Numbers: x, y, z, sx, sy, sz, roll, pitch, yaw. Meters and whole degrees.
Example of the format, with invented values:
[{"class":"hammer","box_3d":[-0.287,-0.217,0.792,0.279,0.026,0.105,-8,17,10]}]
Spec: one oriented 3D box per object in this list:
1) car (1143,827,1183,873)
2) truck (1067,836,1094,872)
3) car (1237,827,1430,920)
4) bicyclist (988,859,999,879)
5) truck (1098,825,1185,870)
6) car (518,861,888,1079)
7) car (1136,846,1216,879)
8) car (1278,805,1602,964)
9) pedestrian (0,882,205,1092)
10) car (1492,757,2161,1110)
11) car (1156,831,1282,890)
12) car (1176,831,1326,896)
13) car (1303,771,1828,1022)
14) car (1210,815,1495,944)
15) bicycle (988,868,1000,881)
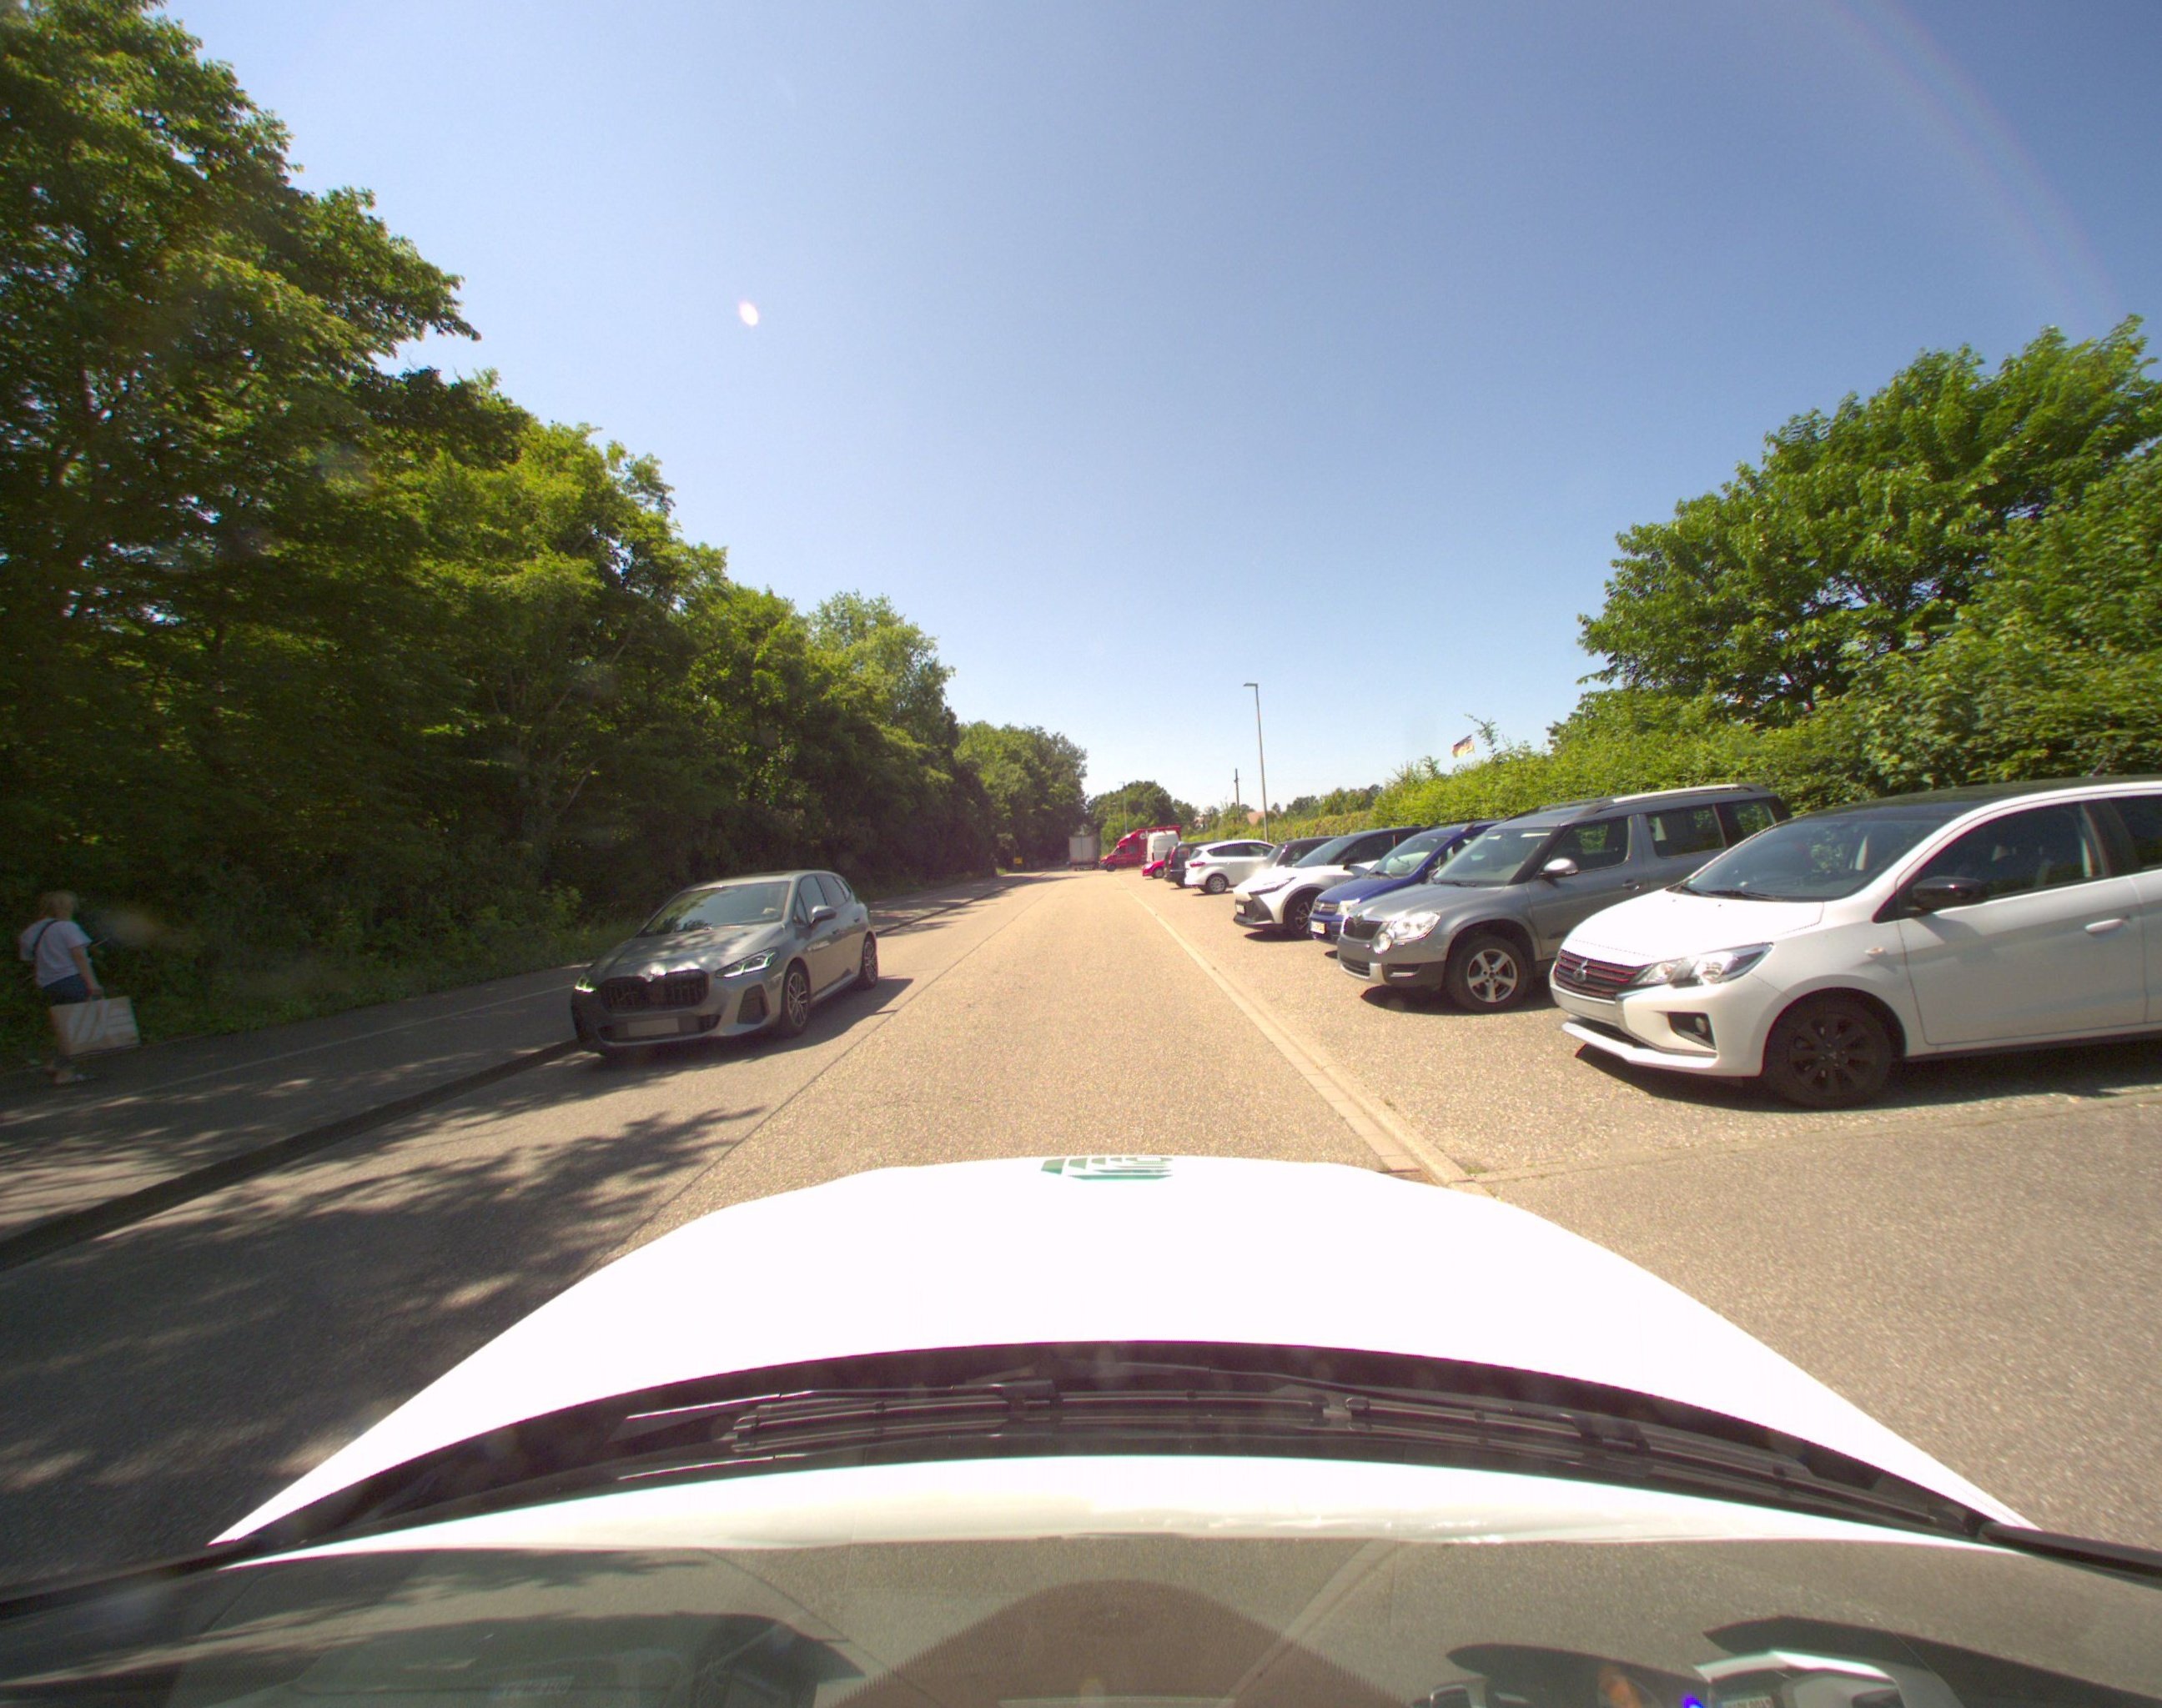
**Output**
[{"class":"car","box_3d":[5.484,-0.271,55.540,1.947,2.733,7.169,-6,0,2]},{"class":"truck","box_3d":[0.059,0.016,92.900,2.724,3.746,13.248,-2,0,1]},{"class":"car","box_3d":[5.025,0.365,16.559,3.373,1.503,1.589,-5,0,3]},{"class":"bicyclist","box_3d":[-7.102,1.201,66.265,0.645,1.565,0.838,-3,0,4]},{"class":"truck","box_3d":[5.126,-0.564,69.428,7.107,3.439,2.333,-2,2,3]},{"class":"car","box_3d":[-3.583,0.963,8.755,1.886,1.532,4.195,-7,0,-1]},{"class":"car","box_3d":[5.209,0.462,45.032,4.045,1.434,1.834,-6,0,-3]},{"class":"car","box_3d":[4.573,0.357,10.641,3.447,1.527,1.537,-7,0,-5]},{"class":"pedestrian","box_3d":[-8.453,1.084,6.953,0.929,1.612,0.885,-3,0,-1]},{"class":"car","box_3d":[4.748,0.355,4.850,3.674,1.450,1.611,-7,0,3]},{"class":"car","box_3d":[5.375,0.260,32.174,4.445,1.804,1.950,-6,-1,-4]},{"class":"car","box_3d":[5.344,0.299,25.962,4.265,1.578,1.764,-6,0,-2]},{"class":"car","box_3d":[4.386,0.334,7.714,3.955,1.640,1.660,-7,0,-6]},{"class":"car","box_3d":[4.380,0.390,13.506,3.957,1.522,1.860,-7,0,-6]},{"class":"bicycle","box_3d":[-7.074,1.652,66.226,0.558,1.027,1.841,-3,0,5]}]
